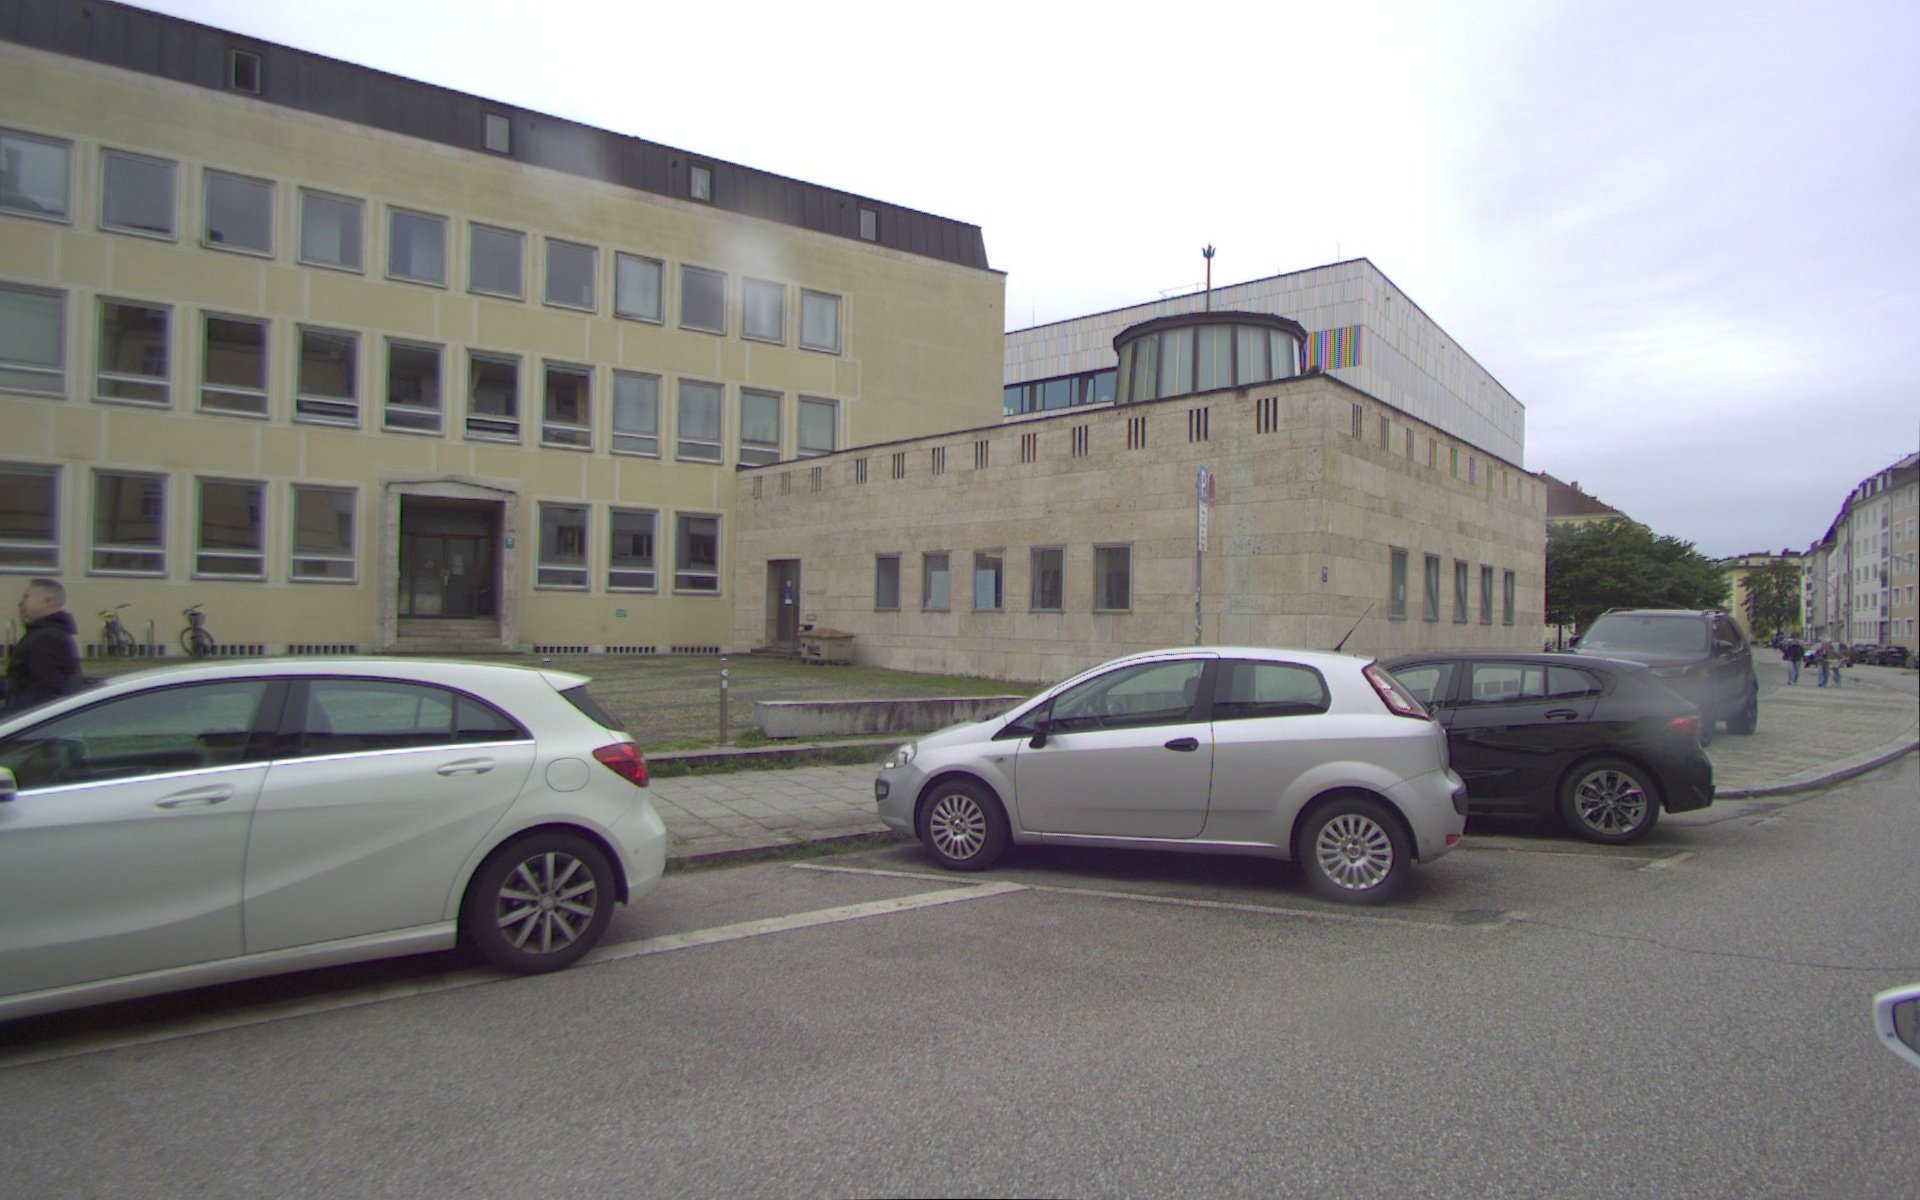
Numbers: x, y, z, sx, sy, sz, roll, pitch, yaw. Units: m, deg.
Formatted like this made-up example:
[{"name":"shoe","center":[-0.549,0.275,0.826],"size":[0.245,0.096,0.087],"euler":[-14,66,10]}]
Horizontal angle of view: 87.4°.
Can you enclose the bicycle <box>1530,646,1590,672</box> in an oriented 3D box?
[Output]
[{"name":"bicycle","center":[25.360,2.492,42.461],"size":[2.086,0.890,0.826],"euler":[5,1,34]}]

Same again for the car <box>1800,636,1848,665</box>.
[{"name":"car","center":[57.973,3.362,67.468],"size":[1.967,1.859,4.154],"euler":[0,-1,35]}]

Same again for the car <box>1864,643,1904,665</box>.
[{"name":"car","center":[68.737,4.002,74.744],"size":[1.611,1.503,3.600],"euler":[1,-1,34]}]

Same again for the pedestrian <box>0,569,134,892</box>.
[{"name":"pedestrian","center":[-5.734,0.766,6.339],"size":[0.709,1.891,0.834],"euler":[1,-1,-45]}]

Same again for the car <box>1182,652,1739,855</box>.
[{"name":"car","center":[4.085,1.196,8.791],"size":[3.921,1.439,1.814],"euler":[-2,-3,23]}]

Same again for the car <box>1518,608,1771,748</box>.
[{"name":"car","center":[10.392,1.081,15.096],"size":[4.849,1.759,2.033],"euler":[3,-2,-42]}]

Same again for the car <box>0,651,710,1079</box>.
[{"name":"car","center":[-3.498,0.983,4.585],"size":[4.173,1.469,1.981],"euler":[2,-4,-35]}]

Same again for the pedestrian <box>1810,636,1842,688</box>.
[{"name":"pedestrian","center":[31.162,2.220,36.156],"size":[0.913,1.792,0.729],"euler":[2,-1,-40]}]

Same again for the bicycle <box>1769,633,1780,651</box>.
[{"name":"bicycle","center":[103.528,5.316,127.735],"size":[1.013,2.039,3.270],"euler":[1,-6,38]}]

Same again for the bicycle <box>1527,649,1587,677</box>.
[{"name":"bicycle","center":[23.718,2.485,39.922],"size":[2.002,0.897,0.673],"euler":[5,1,34]}]

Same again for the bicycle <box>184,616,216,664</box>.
[{"name":"bicycle","center":[-16.697,0.861,22.084],"size":[0.410,0.957,1.696],"euler":[1,0,-33]}]

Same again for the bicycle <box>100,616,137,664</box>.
[{"name":"bicycle","center":[-17.936,0.844,21.418],"size":[0.410,0.957,1.462],"euler":[1,0,-33]}]

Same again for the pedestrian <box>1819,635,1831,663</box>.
[{"name":"pedestrian","center":[46.844,2.649,54.401],"size":[0.440,1.479,0.457],"euler":[4,-2,-45]}]

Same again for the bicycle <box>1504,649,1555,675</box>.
[{"name":"bicycle","center":[21.538,2.339,38.018],"size":[1.622,0.808,0.527],"euler":[5,1,32]}]

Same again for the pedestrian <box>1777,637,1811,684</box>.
[{"name":"pedestrian","center":[30.541,2.204,36.789],"size":[0.912,1.651,0.756],"euler":[2,-1,-36]}]

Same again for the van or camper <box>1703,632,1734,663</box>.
[{"name":"van or camper","center":[66.432,4.161,88.029],"size":[2.070,2.585,4.754],"euler":[1,-1,37]}]

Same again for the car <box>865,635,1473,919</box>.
[{"name":"car","center":[1.390,1.050,6.985],"size":[3.737,1.527,1.714],"euler":[-2,-4,24]}]

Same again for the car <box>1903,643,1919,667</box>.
[{"name":"car","center":[63.352,3.626,65.860],"size":[1.611,1.503,3.600],"euler":[1,-1,34]}]

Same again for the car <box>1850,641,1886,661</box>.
[{"name":"car","center":[71.424,4.001,79.028],"size":[1.611,1.503,3.600],"euler":[0,-1,34]}]

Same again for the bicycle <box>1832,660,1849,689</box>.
[{"name":"bicycle","center":[31.423,2.647,35.844],"size":[0.385,0.982,1.705],"euler":[0,-2,44]}]
